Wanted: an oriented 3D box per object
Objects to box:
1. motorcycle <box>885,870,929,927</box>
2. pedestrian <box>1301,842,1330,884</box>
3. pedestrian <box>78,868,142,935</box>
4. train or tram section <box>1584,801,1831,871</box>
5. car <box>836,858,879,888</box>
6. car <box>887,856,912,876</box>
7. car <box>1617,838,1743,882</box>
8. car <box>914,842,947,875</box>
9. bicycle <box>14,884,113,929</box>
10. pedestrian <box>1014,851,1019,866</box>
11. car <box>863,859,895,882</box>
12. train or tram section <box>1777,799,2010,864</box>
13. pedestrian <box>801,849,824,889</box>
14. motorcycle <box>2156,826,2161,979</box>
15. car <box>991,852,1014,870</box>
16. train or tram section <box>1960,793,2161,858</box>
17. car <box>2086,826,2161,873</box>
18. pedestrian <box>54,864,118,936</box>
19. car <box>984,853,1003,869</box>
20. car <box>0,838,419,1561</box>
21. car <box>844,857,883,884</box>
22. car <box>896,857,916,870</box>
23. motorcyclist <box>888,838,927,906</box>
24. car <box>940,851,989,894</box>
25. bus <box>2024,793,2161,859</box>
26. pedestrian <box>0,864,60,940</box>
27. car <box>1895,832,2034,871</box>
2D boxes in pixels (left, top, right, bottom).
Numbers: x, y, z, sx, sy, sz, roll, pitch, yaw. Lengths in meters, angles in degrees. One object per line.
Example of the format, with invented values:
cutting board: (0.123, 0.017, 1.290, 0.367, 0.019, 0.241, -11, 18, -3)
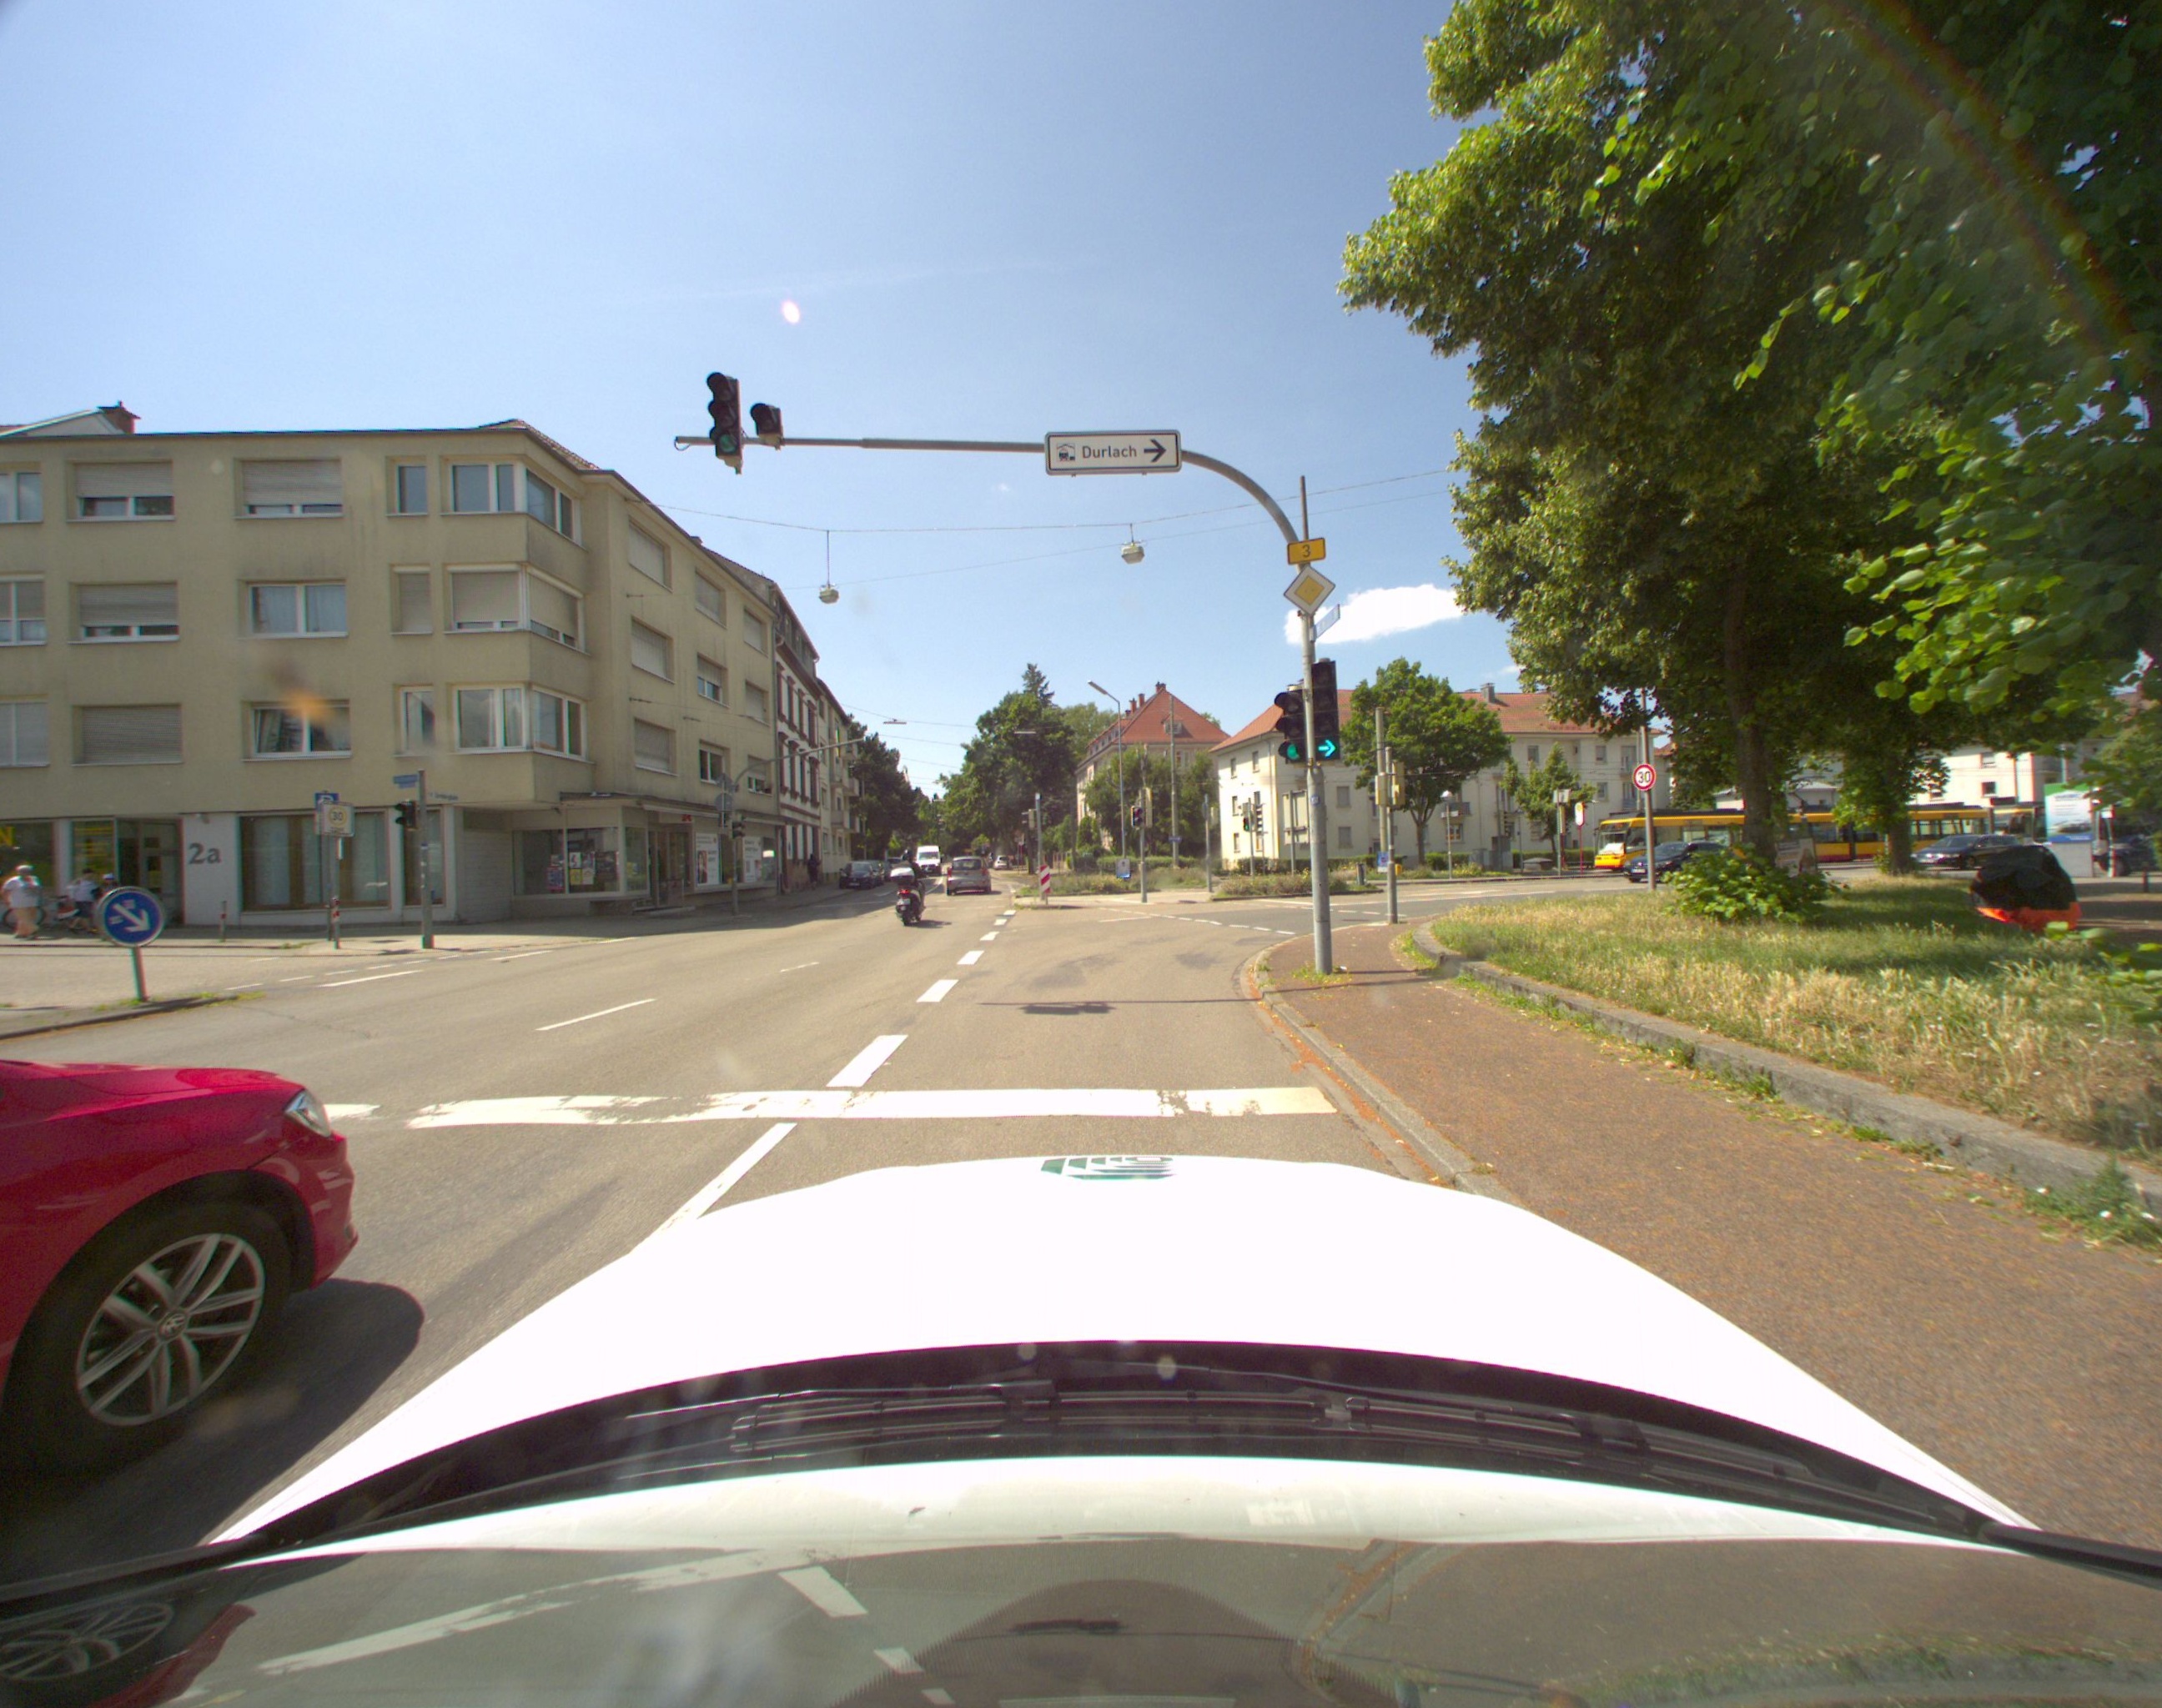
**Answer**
motorcycle: (-3.804, 0.937, 17.966, 0.710, 1.134, 2.192, -1, 0, -7)
pedestrian: (9.649, 0.370, 33.533, 0.839, 1.705, 0.756, -1, 0, -26)
pedestrian: (-22.328, 1.078, 18.739, 0.683, 1.475, 0.649, -1, 0, 2)
train or tram section: (35.483, -1.032, 46.088, 14.151, 3.568, 2.806, -1, -1, -14)
car: (-12.195, 1.033, 44.627, 1.995, 1.519, 3.983, -1, -1, -12)
car: (-16.512, 1.097, 74.204, 1.797, 1.718, 4.027, 2, 0, -7)
car: (22.473, 0.206, 30.539, 4.434, 1.500, 1.983, -1, 0, -26)
car: (-12.766, 0.420, 69.378, 2.215, 2.501, 7.533, -5, 0, -8)
bicycle: (-24.502, 1.252, 19.623, 1.732, 1.026, 0.498, -1, 0, -1)
pedestrian: (-7.365, 0.486, 93.443, 0.508, 1.656, 0.465, -1, 0, -6)
car: (-14.336, 1.147, 57.950, 1.995, 1.510, 3.984, -1, 0, -11)
train or tram section: (49.458, -1.408, 49.518, 14.675, 3.568, 2.781, -1, -1, -14)
pedestrian: (-13.509, 0.742, 41.028, 0.935, 1.931, 0.973, -1, -1, -11)
motorcycle: (9.123, 0.423, 5.845, 0.906, 1.313, 2.239, -1, 0, 31)
car: (-8.211, 0.693, 84.964, 1.994, 1.807, 3.985, -1, 0, -11)
train or tram section: (64.994, -1.907, 53.362, 15.519, 3.895, 2.781, -1, -1, -14)
car: (33.542, -0.163, 24.486, 1.884, 1.439, 4.183, -2, -1, 10)
pedestrian: (-23.182, 1.057, 18.986, 0.683, 1.632, 0.649, -1, 0, 2)
car: (-10.540, 0.808, 98.194, 1.994, 1.906, 3.985, -1, 0, -11)
car: (-3.269, 0.753, 0.821, 1.792, 1.558, 4.039, -1, 0, 2)
car: (-13.086, 1.011, 49.291, 1.994, 1.519, 3.984, -1, -1, -11)
car: (-21.645, 1.131, 100.771, 1.796, 1.558, 4.030, 2, 0, -5)
motorcyclist: (-3.813, 0.391, 17.952, 0.710, 1.445, 1.017, -1, 0, -7)
car: (-4.651, 0.692, 32.519, 1.798, 1.558, 4.025, -1, 0, -9)
bus: (54.747, -1.497, 42.084, 11.984, 3.129, 2.726, -1, -1, -14)
pedestrian: (-23.440, 1.045, 17.944, 0.798, 1.632, 0.823, -1, 0, 2)
car: (37.739, -0.114, 34.823, 4.499, 1.519, 1.992, -1, 0, -11)
